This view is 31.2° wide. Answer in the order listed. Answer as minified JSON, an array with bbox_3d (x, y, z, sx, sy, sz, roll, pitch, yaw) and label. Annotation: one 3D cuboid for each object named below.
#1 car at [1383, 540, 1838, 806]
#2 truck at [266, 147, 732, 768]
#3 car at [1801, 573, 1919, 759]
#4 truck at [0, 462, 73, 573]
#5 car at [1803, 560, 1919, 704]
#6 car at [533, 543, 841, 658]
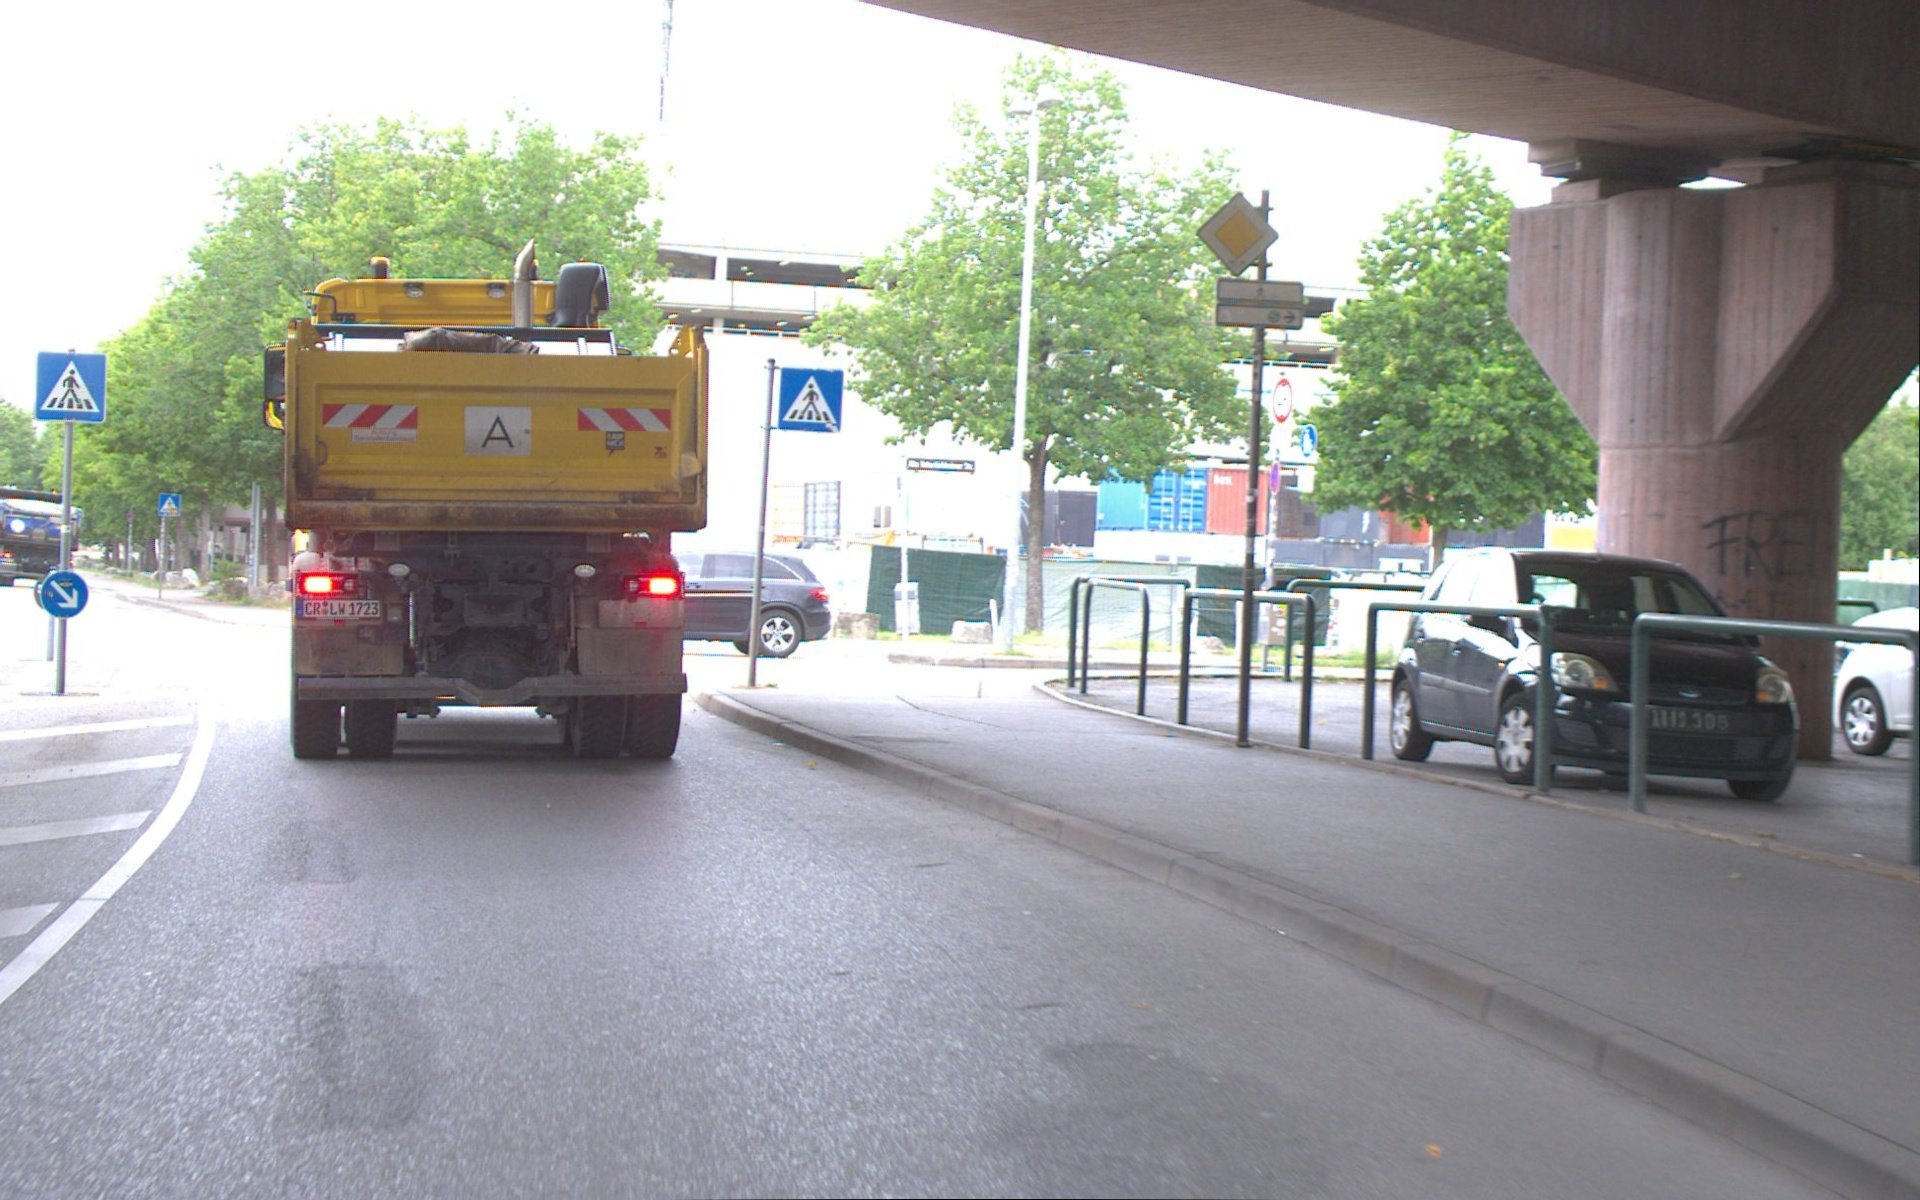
[{"bbox_3d":[3.922,0.388,21.305,1.605,1.392,3.581,4,1,-8],"label":"car"},{"bbox_3d":[-3.534,-0.887,24.538,2.757,3.686,7.882,0,1,-11],"label":"truck"},{"bbox_3d":[9.069,0.609,29.278,1.633,1.546,4.013,2,1,-22],"label":"car"},{"bbox_3d":[-31.087,-2.676,114.196,2.672,3.546,7.926,-1,1,-18],"label":"truck"},{"bbox_3d":[11.343,0.370,36.997,4.233,1.415,1.511,1,3,-20],"label":"car"},{"bbox_3d":[-4.157,-0.010,52.011,4.534,1.569,1.846,2,1,-7],"label":"car"}]
